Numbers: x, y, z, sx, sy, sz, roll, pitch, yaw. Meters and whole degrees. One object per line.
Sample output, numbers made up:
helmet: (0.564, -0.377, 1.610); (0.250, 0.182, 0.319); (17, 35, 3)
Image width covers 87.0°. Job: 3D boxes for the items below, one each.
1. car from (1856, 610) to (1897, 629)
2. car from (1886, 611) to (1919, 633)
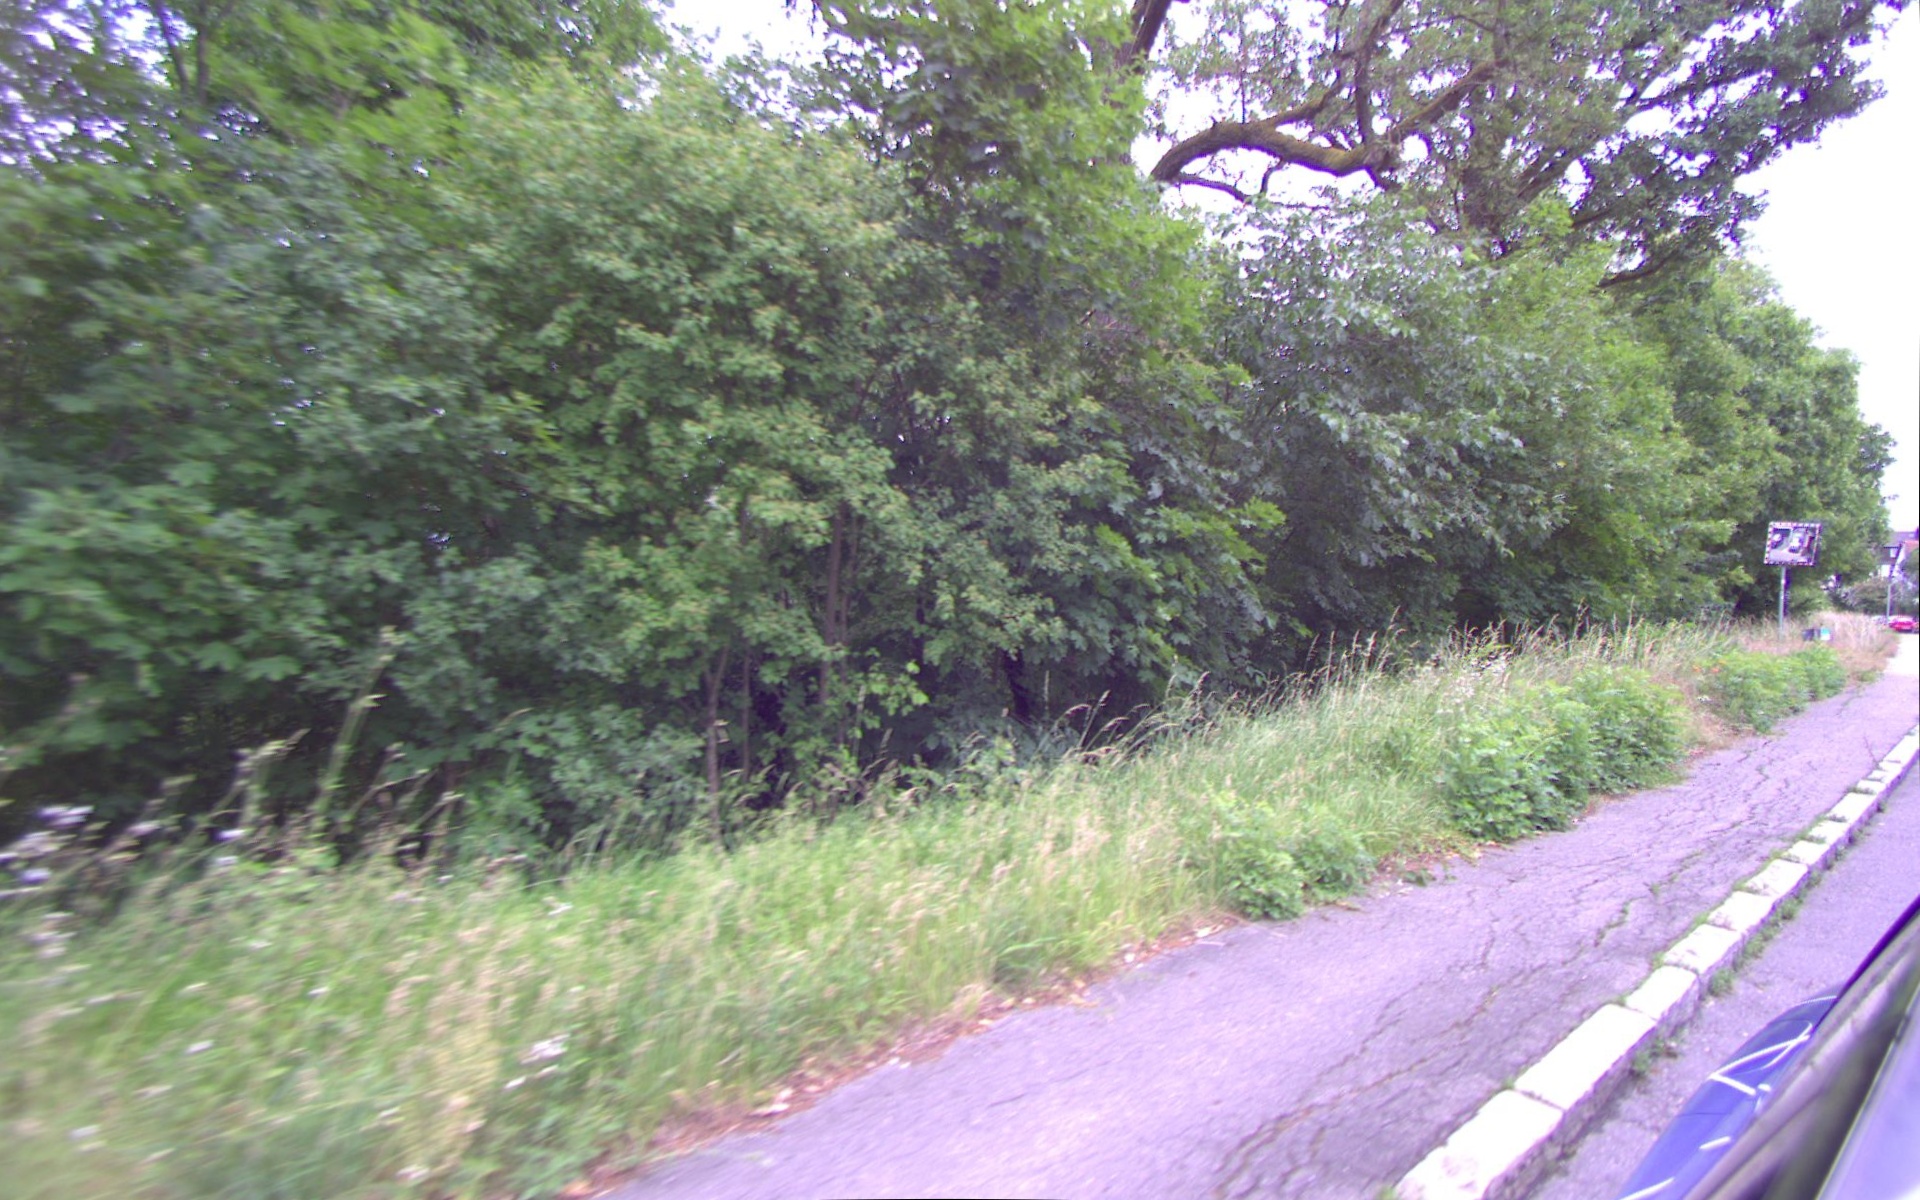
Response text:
car: (85.160, 1.786, 94.082); (1.985, 1.709, 4.656); (1, 1, 32)
car: (80.099, 1.876, 85.352); (1.984, 1.709, 4.659); (1, 1, 31)
